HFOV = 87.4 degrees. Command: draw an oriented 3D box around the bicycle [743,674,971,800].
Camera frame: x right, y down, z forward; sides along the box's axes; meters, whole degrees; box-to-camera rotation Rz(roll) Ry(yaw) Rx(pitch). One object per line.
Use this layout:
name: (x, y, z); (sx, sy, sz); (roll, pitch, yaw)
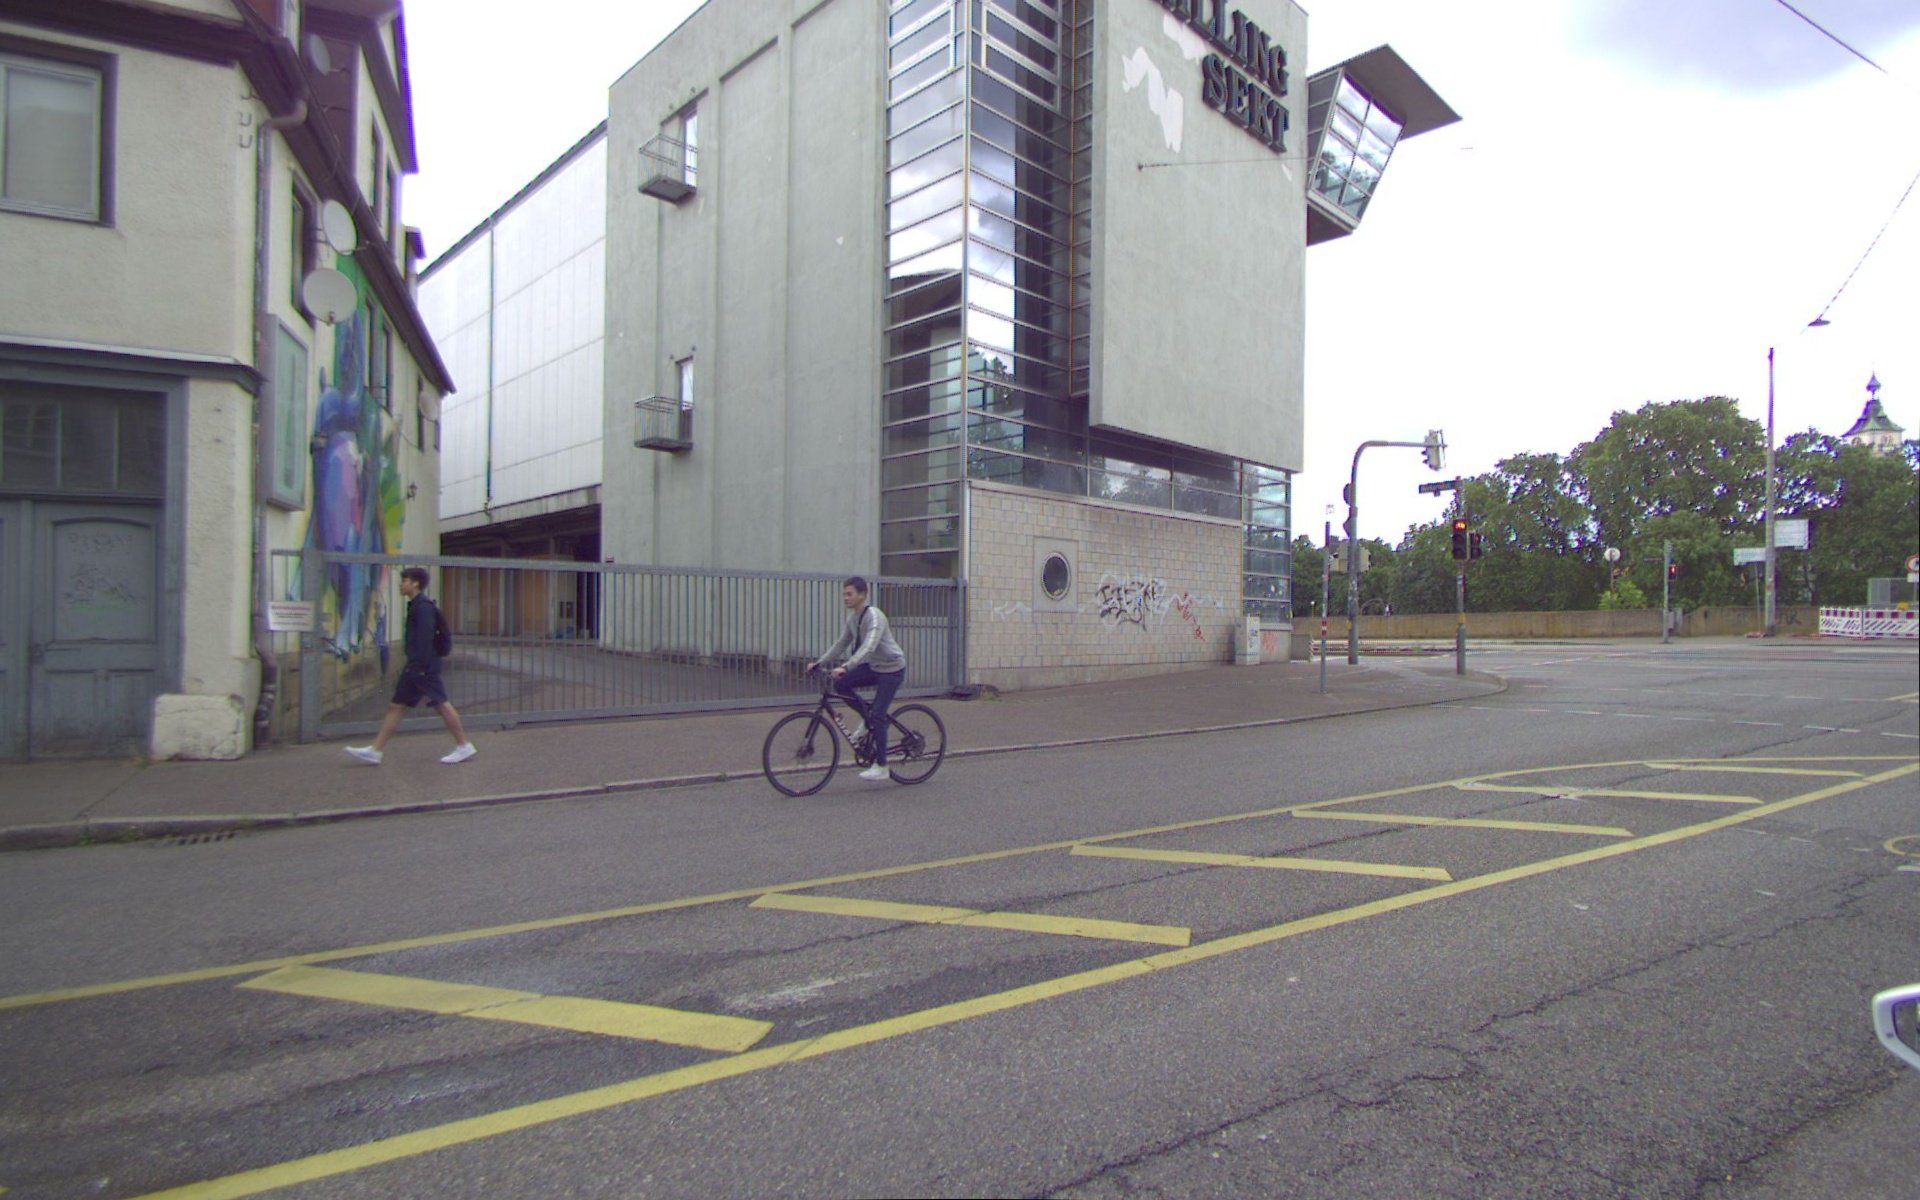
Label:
bicycle: (-0.843, 1.116, 8.484); (1.857, 0.904, 0.539); (1, -1, -29)

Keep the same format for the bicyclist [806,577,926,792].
bicyclist: (-0.806, 0.688, 8.561); (0.801, 1.723, 0.720); (1, -1, -29)

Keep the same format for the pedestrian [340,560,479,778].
pedestrian: (-5.173, 0.593, 9.517); (1.077, 1.911, 1.050); (-1, 1, -27)
